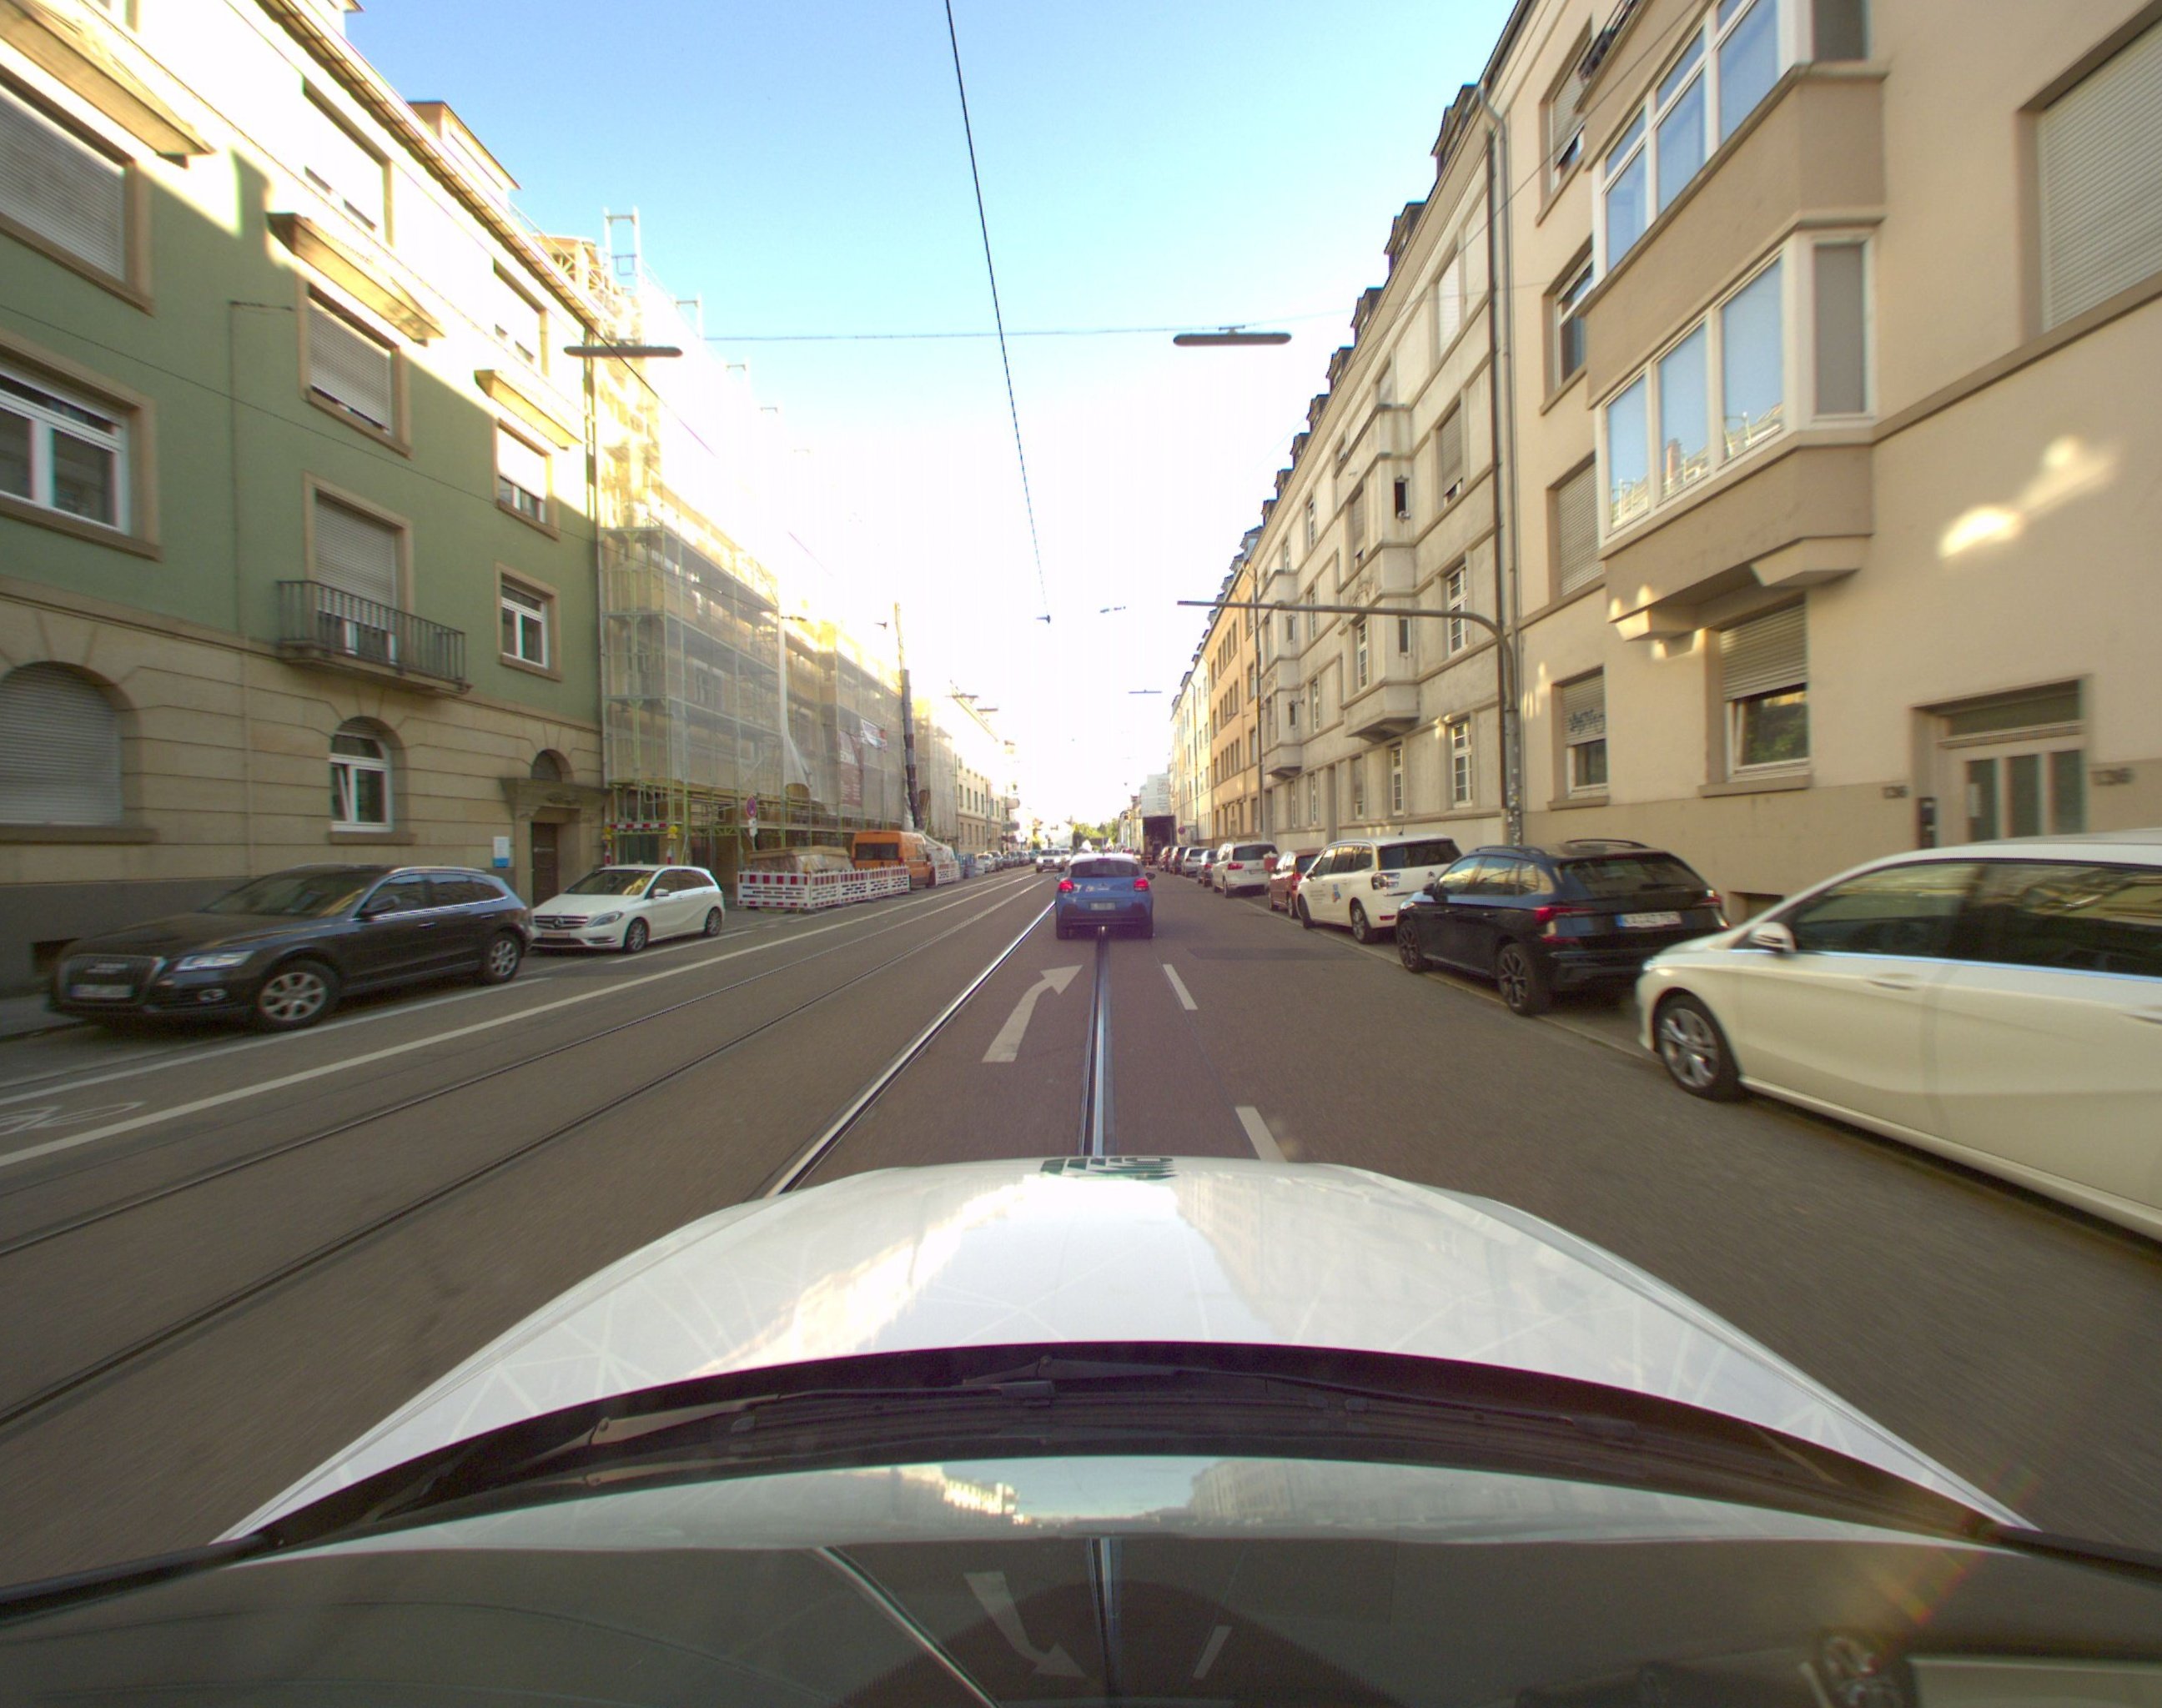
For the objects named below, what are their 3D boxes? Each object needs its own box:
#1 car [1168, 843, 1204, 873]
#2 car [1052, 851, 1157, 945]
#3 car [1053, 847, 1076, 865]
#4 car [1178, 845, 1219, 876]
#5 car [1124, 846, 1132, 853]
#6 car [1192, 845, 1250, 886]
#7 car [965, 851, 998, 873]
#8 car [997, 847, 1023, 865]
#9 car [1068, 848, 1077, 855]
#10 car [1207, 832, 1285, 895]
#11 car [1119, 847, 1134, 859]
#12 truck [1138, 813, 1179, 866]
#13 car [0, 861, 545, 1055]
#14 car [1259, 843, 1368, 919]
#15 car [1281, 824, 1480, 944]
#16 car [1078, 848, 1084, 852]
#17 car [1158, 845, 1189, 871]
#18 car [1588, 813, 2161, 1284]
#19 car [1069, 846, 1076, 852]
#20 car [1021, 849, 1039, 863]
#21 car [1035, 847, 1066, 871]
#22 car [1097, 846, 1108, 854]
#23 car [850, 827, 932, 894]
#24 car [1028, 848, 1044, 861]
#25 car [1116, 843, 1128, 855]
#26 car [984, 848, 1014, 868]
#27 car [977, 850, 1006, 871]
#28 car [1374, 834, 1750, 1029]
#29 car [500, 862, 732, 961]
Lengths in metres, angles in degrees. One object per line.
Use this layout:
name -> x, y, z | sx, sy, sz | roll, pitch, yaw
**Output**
car -> 6.010, 0.200, 47.057 | 1.657, 1.647, 4.224 | -2, 0, 2
car -> 0.458, 0.713, 15.398 | 1.728, 1.507, 3.994 | 0, 1, 2
car -> -1.543, 0.124, 78.561 | 1.894, 1.631, 4.269 | -2, 0, 2
car -> 6.023, 0.299, 42.209 | 1.657, 1.519, 4.224 | -2, 0, 2
car -> 10.907, -1.003, 189.955 | 1.758, 1.486, 4.034 | -2, 0, 2
car -> 5.576, 0.423, 32.827 | 1.716, 1.486, 4.224 | -2, 0, 2
car -> -7.407, 0.561, 60.937 | 1.707, 1.518, 4.050 | -2, 0, 2
car -> -6.891, 0.180, 79.562 | 1.819, 1.631, 4.851 | -2, 0, 2
car -> -1.833, -0.619, 185.070 | 1.758, 1.486, 4.034 | -2, 0, 2
car -> 5.334, 0.269, 26.864 | 1.724, 1.827, 4.689 | -2, 0, 2
car -> 5.658, -0.136, 102.080 | 1.758, 1.486, 4.034 | -2, 0, 2
truck -> 6.404, -1.167, 68.779 | 2.841, 4.083, 11.280 | -2, 0, 3
car -> -8.708, 0.945, 9.551 | 1.777, 1.626, 4.608 | 0, 1, 0
car -> 5.320, 0.554, 19.069 | 1.608, 1.560, 3.602 | -2, 0, 2
car -> 5.048, 0.429, 14.477 | 1.651, 1.752, 4.599 | -2, 0, -2
car -> 0.144, -1.273, 260.274 | 1.758, 1.486, 4.034 | -2, 0, 2
car -> 6.009, 0.234, 53.081 | 1.657, 1.633, 3.873 | -2, 0, 2
car -> 4.528, 0.617, 3.762 | 1.777, 1.576, 4.329 | -2, 0, 2
car -> -2.295, -1.393, 216.749 | 1.758, 1.486, 4.034 | -2, 0, 2
car -> -6.265, 0.181, 99.635 | 1.819, 1.631, 3.907 | -2, 0, 2
car -> -2.158, 0.331, 58.024 | 1.819, 1.631, 4.493 | -2, 0, 2
car -> 4.169, -0.714, 158.699 | 2.172, 1.486, 4.162 | -1, 0, 2
car -> -7.621, 0.223, 33.216 | 2.138, 2.475, 4.979 | -1, 1, 0
car -> -5.832, 0.056, 105.832 | 1.820, 1.631, 3.904 | -2, 0, -1
car -> 8.104, -1.007, 160.982 | 2.211, 2.284, 4.086 | -2, 0, 2
car -> -7.367, 0.338, 73.794 | 2.137, 1.621, 4.001 | -2, 1, 1
car -> -7.174, 0.504, 65.806 | 1.707, 1.594, 4.269 | -2, 0, 2
car -> 4.734, 0.621, 8.873 | 1.648, 1.566, 4.340 | -2, 0, 2
car -> -8.584, 0.965, 15.581 | 1.711, 1.502, 4.392 | 0, 1, 3
